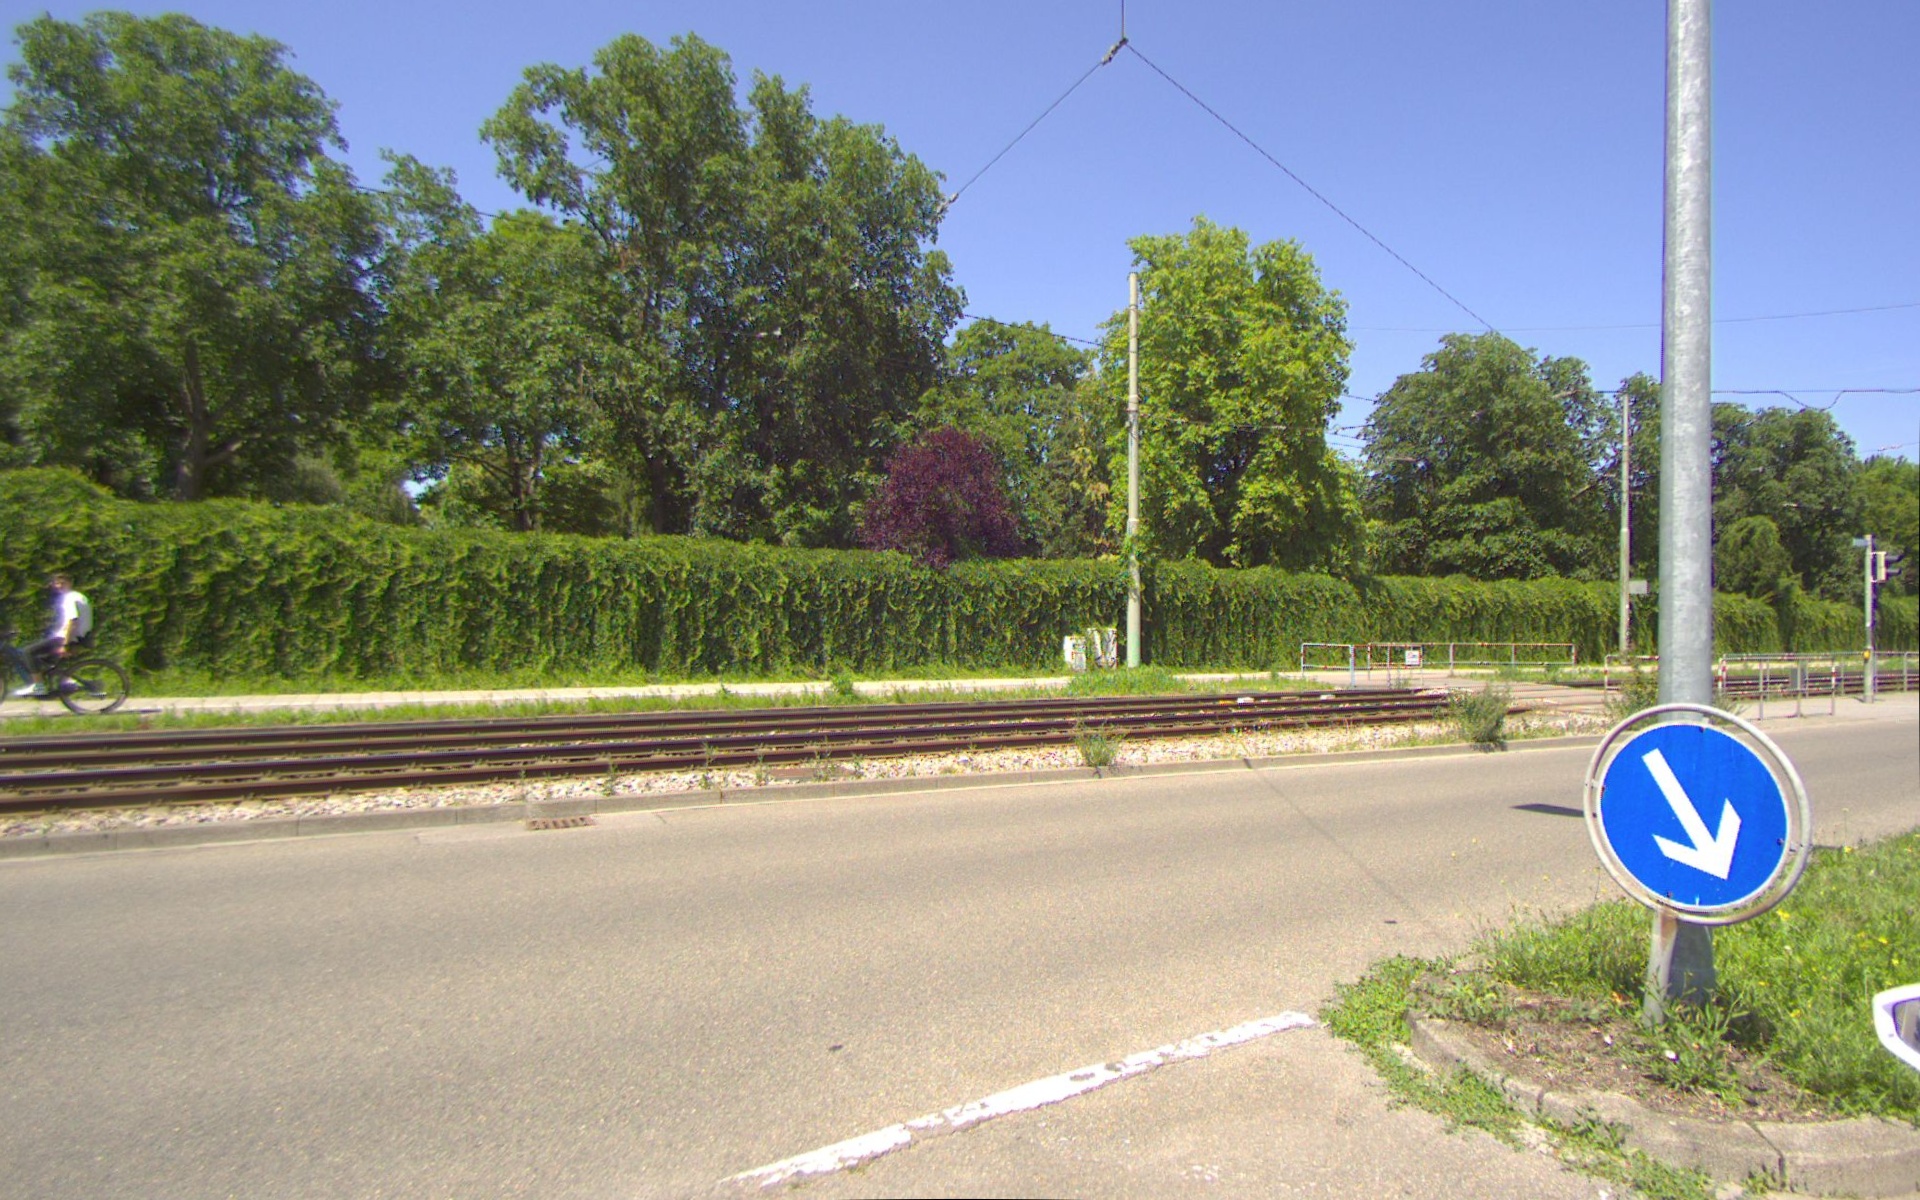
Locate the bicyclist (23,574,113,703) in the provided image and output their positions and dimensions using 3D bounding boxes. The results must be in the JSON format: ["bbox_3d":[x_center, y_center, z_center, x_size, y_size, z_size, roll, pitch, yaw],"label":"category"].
[{"bbox_3d":[-11.664,0.499,13.155,0.760,1.633,0.480,2,0,-30],"label":"bicyclist"}]

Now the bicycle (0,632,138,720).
[{"bbox_3d":[-11.967,0.970,12.993,1.955,1.069,0.613,2,0,-30],"label":"bicycle"}]
